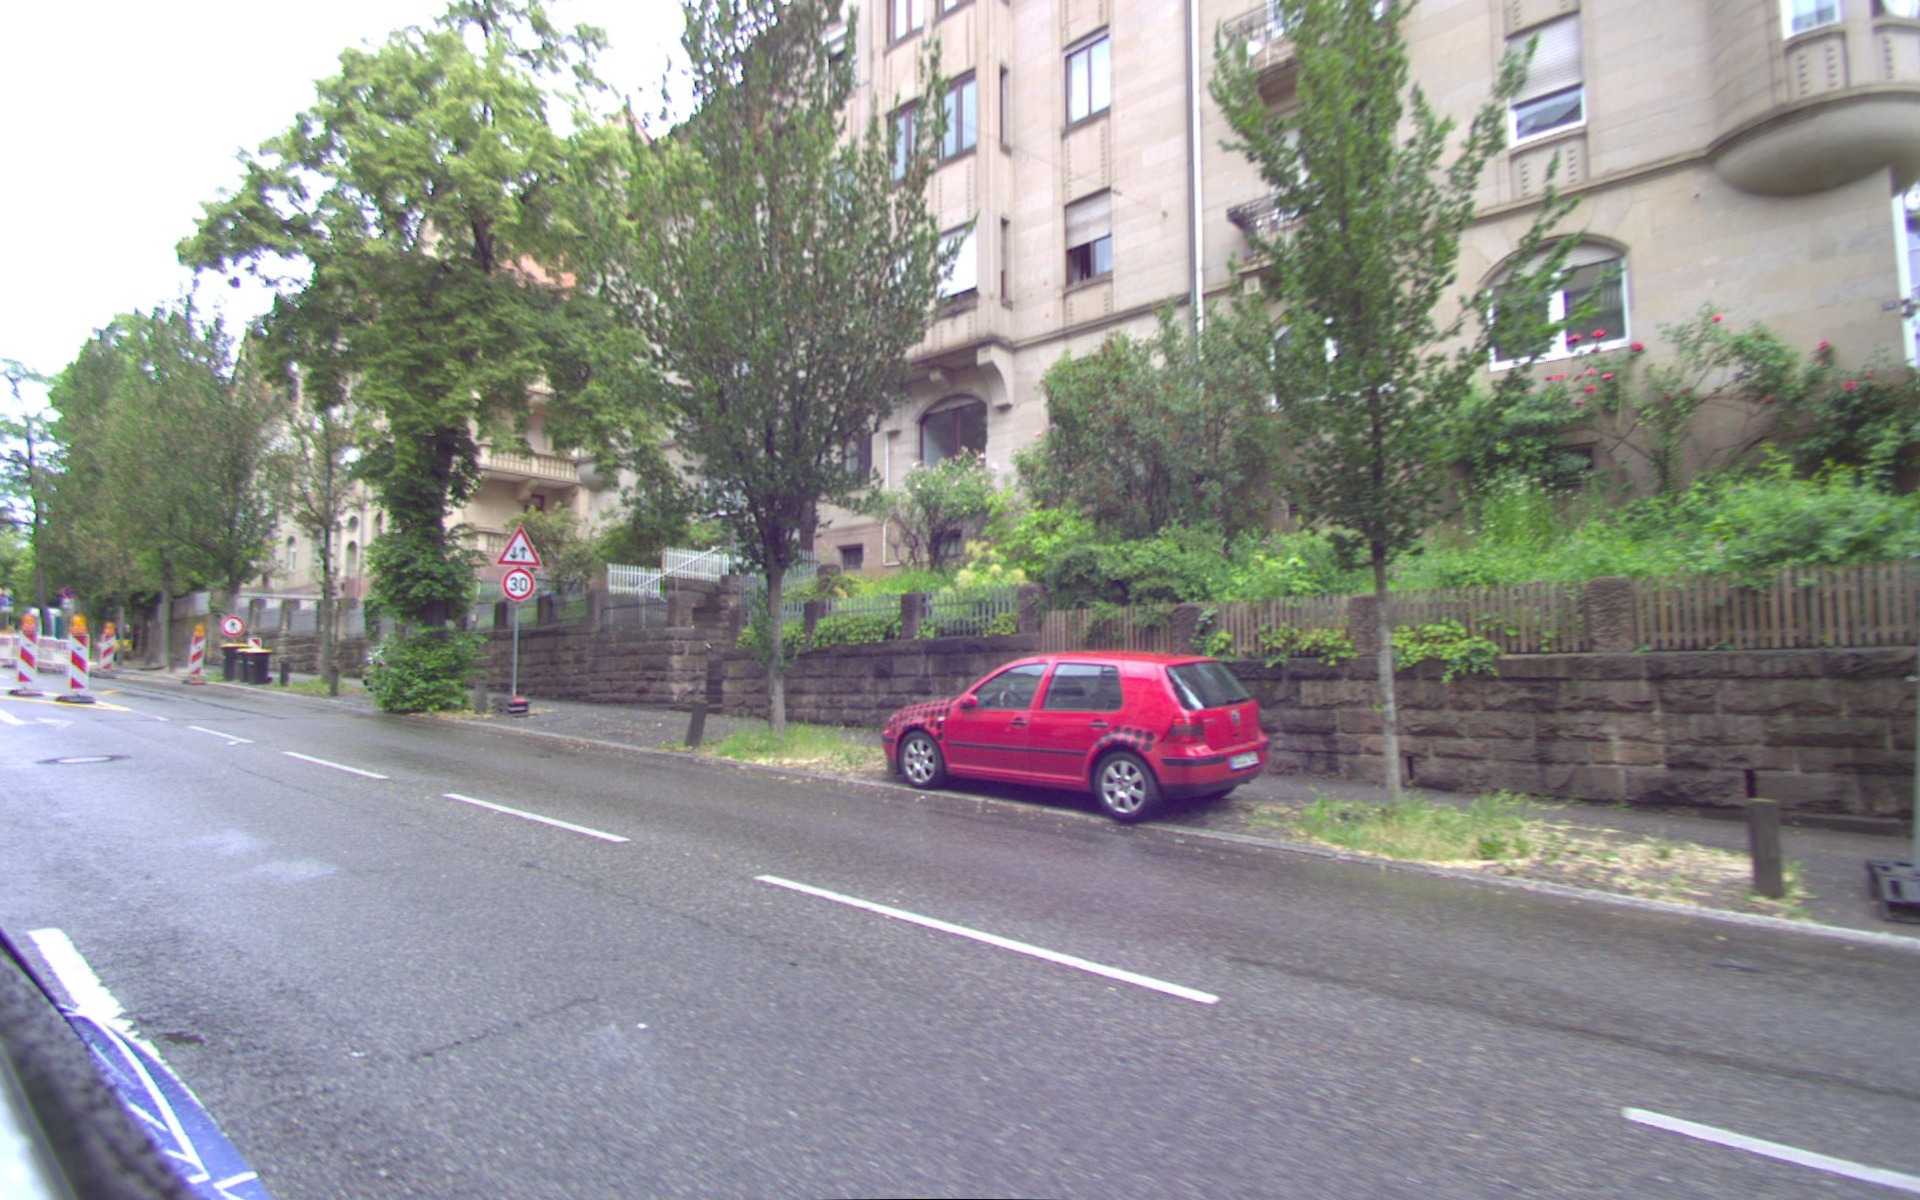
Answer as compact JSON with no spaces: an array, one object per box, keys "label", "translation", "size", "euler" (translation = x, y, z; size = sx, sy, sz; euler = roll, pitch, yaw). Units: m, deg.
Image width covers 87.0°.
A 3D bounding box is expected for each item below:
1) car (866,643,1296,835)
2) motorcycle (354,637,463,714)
[{"label":"car","translation":[1.044,1.191,10.027],"size":[4.062,1.462,1.596],"euler":[-1,-2,42]},{"label":"motorcycle","translation":[-11.138,1.471,20.381],"size":[3.058,1.425,0.792],"euler":[-2,-1,38]}]
